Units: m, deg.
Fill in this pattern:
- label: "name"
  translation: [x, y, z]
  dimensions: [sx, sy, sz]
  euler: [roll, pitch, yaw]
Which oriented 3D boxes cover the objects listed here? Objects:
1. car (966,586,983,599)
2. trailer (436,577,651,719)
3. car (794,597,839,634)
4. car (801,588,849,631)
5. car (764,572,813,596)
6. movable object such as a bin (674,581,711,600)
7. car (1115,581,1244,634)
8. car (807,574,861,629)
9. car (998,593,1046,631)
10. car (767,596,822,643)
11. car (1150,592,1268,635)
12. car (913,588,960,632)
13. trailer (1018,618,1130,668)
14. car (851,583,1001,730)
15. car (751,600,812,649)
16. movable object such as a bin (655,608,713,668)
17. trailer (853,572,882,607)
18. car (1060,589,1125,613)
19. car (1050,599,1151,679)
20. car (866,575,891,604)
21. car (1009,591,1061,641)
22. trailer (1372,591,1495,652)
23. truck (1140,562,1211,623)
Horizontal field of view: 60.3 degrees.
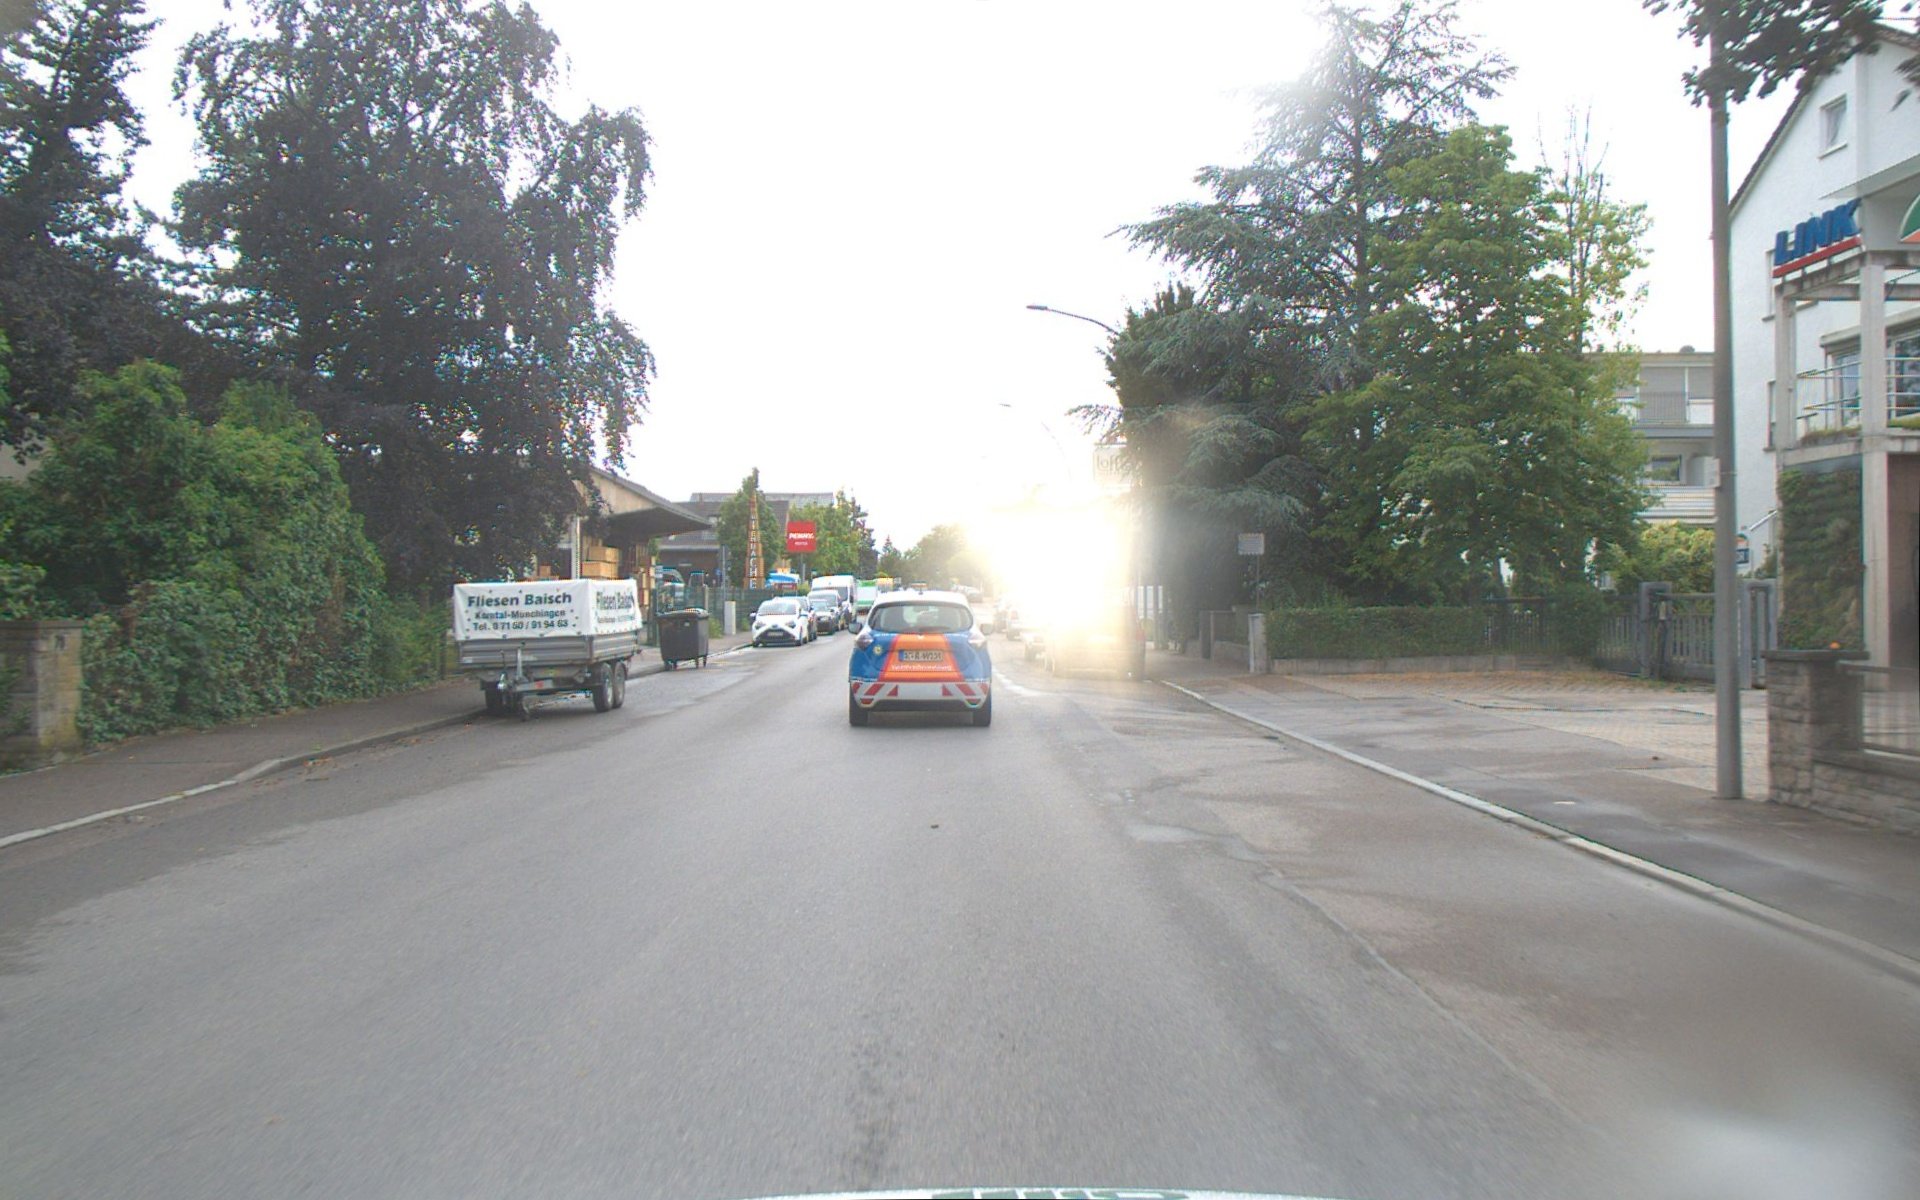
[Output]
- label: "car"
  translation: [1.526, -0.808, 170.569]
  dimensions: [1.557, 1.364, 4.091]
  euler: [0, 0, -2]
- label: "trailer"
  translation: [-5.725, 0.602, 23.328]
  dimensions: [1.890, 1.796, 4.548]
  euler: [0, 0, 0]
- label: "car"
  translation: [-5.930, 0.627, 68.888]
  dimensions: [1.628, 1.474, 4.315]
  euler: [-2, 0, -2]
- label: "car"
  translation: [-6.093, 0.407, 75.200]
  dimensions: [1.734, 1.799, 4.446]
  euler: [-4, 0, 0]
- label: "car"
  translation: [-15.464, -1.414, 149.283]
  dimensions: [4.218, 2.049, 2.062]
  euler: [1, 0, -1]
- label: "movable object such as a bin"
  translation: [-25.550, -0.897, 158.249]
  dimensions: [3.357, 1.790, 1.997]
  euler: [1, 0, -7]
- label: "car"
  translation: [8.361, 0.293, 63.228]
  dimensions: [4.635, 1.919, 2.000]
  euler: [1, 0, -1]
- label: "car"
  translation: [-6.119, 0.036, 80.992]
  dimensions: [2.114, 2.469, 6.458]
  euler: [-3, 0, -1]
- label: "car"
  translation: [2.484, 0.470, 67.578]
  dimensions: [1.703, 1.492, 4.545]
  euler: [1, 0, -1]
- label: "car"
  translation: [-5.941, 0.683, 59.764]
  dimensions: [1.627, 1.612, 3.915]
  euler: [-2, 0, -2]
- label: "car"
  translation: [9.118, 0.480, 60.732]
  dimensions: [4.020, 1.482, 2.000]
  euler: [1, 0, -1]
- label: "car"
  translation: [-0.915, 0.348, 61.668]
  dimensions: [1.617, 1.548, 3.998]
  euler: [1, 0, -3]
- label: "trailer"
  translation: [2.616, 0.977, 39.573]
  dimensions: [2.129, 0.913, 6.635]
  euler: [1, 1, -1]
- label: "car"
  translation: [-0.432, 0.643, 20.509]
  dimensions: [1.696, 1.659, 3.493]
  euler: [0, 0, -2]
- label: "car"
  translation: [-5.858, 0.777, 54.672]
  dimensions: [1.583, 1.535, 3.660]
  euler: [-2, 0, 0]
- label: "movable object such as a bin"
  translation: [-6.332, 0.853, 38.037]
  dimensions: [1.078, 1.333, 1.425]
  euler: [1, 0, -1]
- label: "trailer"
  translation: [-6.589, -0.748, 118.282]
  dimensions: [1.776, 2.354, 4.729]
  euler: [-2, 1, -1]
- label: "car"
  translation: [8.347, 0.049, 104.119]
  dimensions: [3.907, 1.455, 1.630]
  euler: [0, 0, -2]
- label: "car"
  translation: [2.742, 0.722, 33.193]
  dimensions: [1.704, 1.458, 4.649]
  euler: [1, 0, 1]
- label: "car"
  translation: [-7.305, -0.947, 148.511]
  dimensions: [2.082, 2.582, 6.019]
  euler: [-1, 0, -2]
- label: "car"
  translation: [2.578, 0.545, 57.561]
  dimensions: [1.703, 1.650, 4.373]
  euler: [1, 0, 1]
- label: "trailer"
  translation: [12.760, 0.553, 44.911]
  dimensions: [1.733, 1.546, 4.802]
  euler: [0, 0, -3]
- label: "truck"
  translation: [14.061, -0.469, 108.098]
  dimensions: [4.062, 3.737, 2.718]
  euler: [3, 0, -3]
